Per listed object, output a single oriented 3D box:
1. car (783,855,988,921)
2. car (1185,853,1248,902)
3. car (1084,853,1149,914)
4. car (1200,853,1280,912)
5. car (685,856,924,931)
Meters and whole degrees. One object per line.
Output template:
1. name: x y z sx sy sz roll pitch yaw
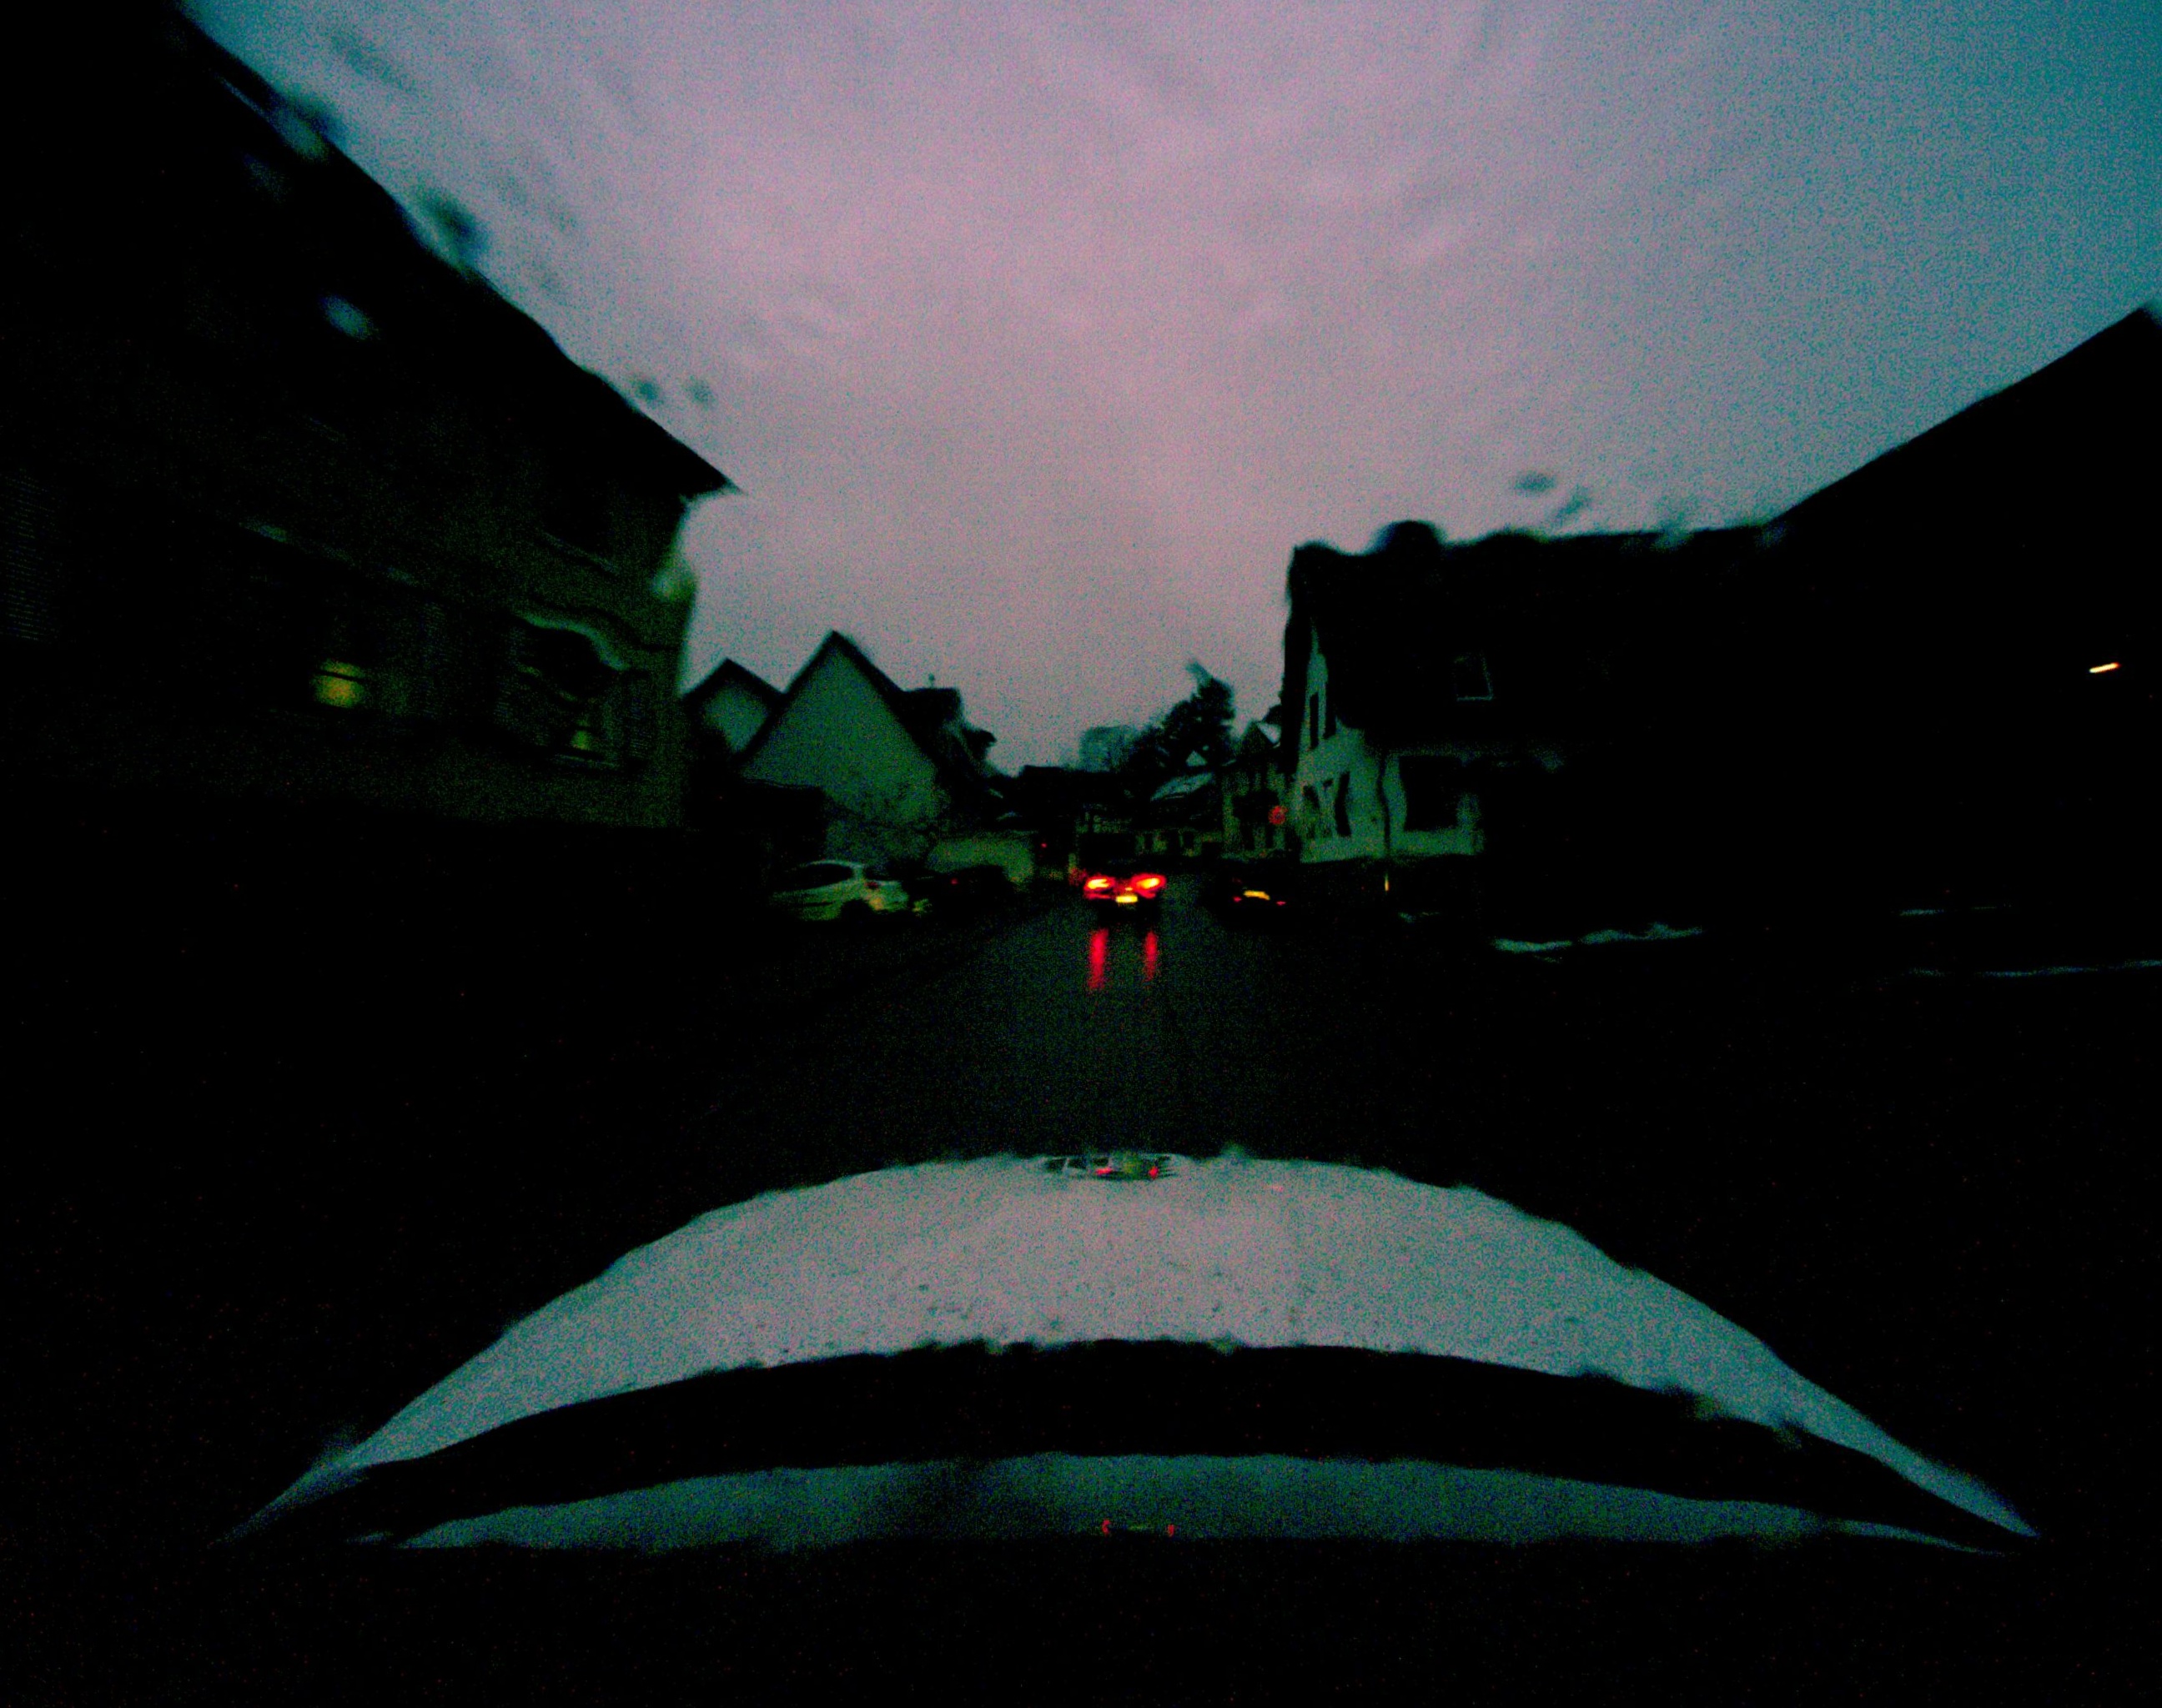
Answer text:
1. car: -4.861 0.830 20.611 4.570 1.470 2.004 -2 0 6
2. car: 4.413 0.717 26.965 1.631 1.494 4.004 0 0 3
3. car: 1.003 0.711 21.488 1.538 1.466 3.704 0 0 5
4. car: 4.247 0.710 22.292 1.631 1.471 4.004 0 0 3
5. car: -6.000 0.840 17.915 4.574 1.470 1.897 -2 0 10
